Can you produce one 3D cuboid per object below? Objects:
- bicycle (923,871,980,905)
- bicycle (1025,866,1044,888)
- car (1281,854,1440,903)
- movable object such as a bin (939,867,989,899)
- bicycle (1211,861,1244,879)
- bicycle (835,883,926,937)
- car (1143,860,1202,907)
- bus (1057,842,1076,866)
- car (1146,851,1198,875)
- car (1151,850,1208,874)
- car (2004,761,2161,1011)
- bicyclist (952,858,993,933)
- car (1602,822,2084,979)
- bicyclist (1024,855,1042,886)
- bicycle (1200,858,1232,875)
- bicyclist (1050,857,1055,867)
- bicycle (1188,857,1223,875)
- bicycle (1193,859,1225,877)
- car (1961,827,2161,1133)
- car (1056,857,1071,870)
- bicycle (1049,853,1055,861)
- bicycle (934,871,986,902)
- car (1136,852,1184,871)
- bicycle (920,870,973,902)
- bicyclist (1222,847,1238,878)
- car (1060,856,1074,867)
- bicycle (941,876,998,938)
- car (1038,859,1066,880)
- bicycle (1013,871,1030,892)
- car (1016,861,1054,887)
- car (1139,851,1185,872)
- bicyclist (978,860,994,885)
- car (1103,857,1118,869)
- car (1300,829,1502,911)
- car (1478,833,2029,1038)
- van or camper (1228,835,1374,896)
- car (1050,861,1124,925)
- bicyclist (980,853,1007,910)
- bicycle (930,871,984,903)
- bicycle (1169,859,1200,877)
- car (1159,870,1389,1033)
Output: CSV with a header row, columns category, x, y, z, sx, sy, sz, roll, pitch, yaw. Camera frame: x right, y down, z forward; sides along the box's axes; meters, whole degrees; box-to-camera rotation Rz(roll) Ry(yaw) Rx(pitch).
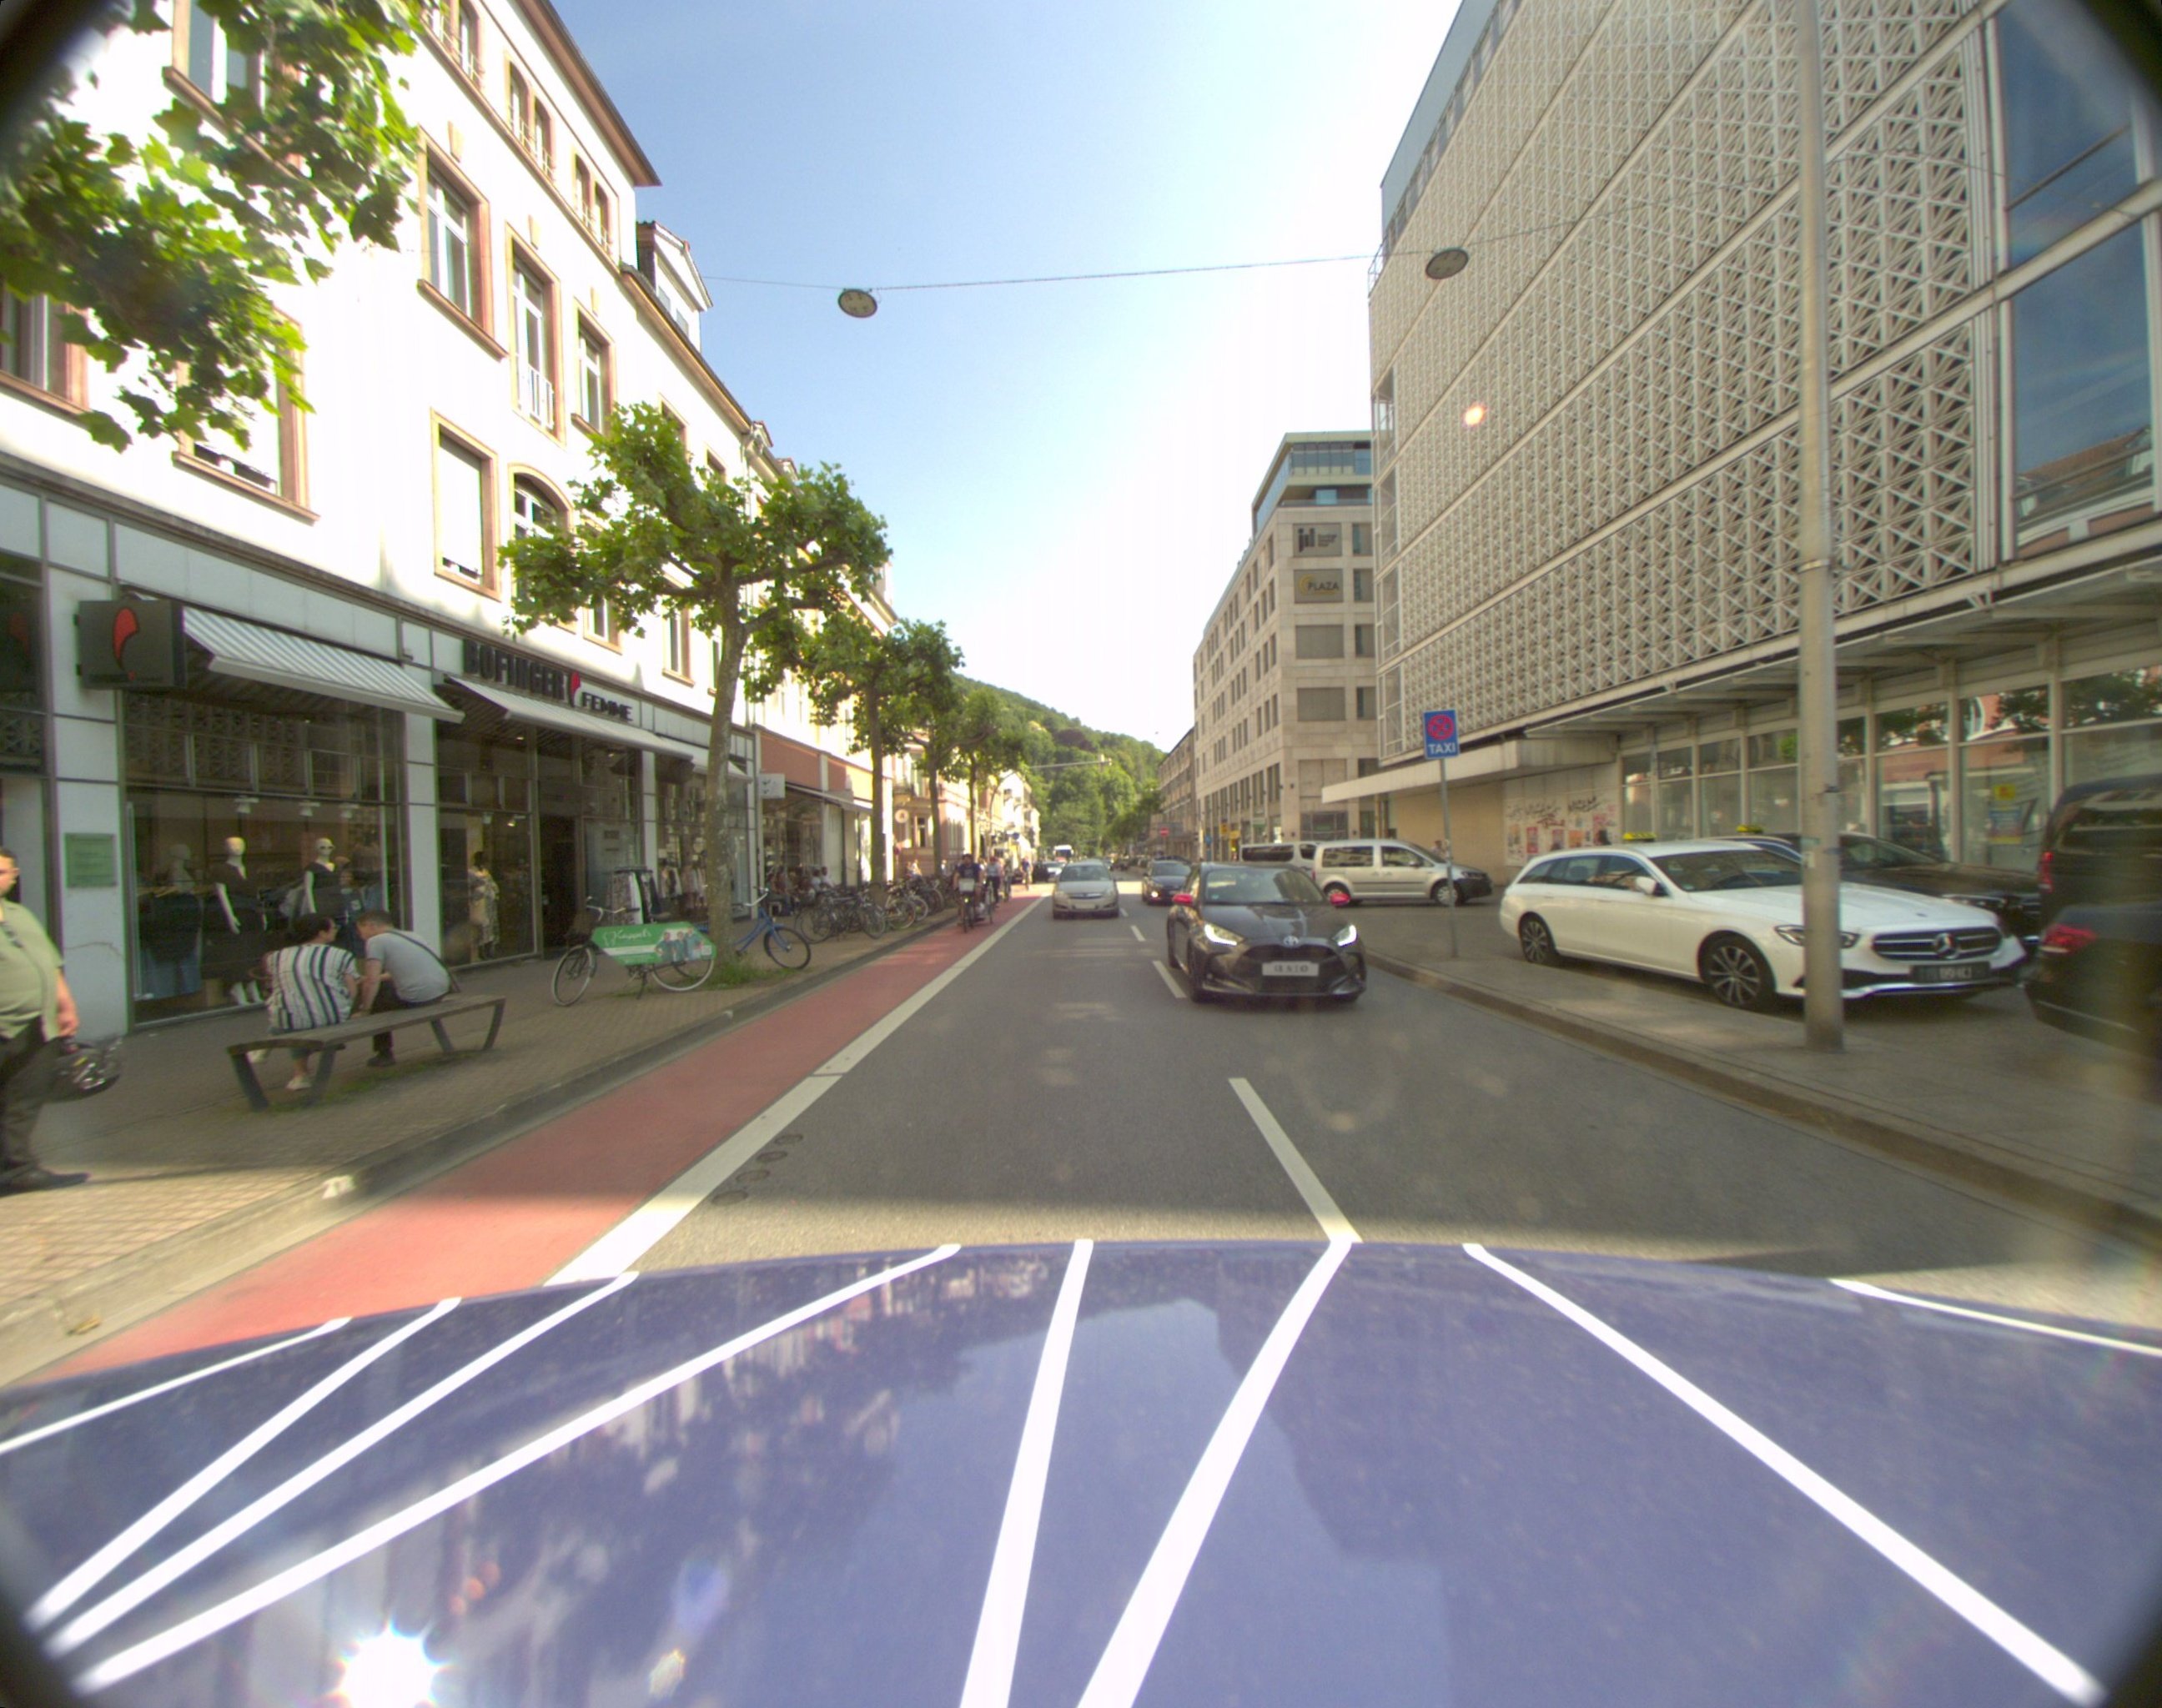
category,x,y,z,sx,sy,sz,roll,pitch,yaw
bicycle,-4.566,1.196,26.813,1.844,1.120,0.666,-1,1,3
bicycle,-2.649,1.283,42.930,0.749,1.111,1.916,-3,1,-11
car,8.657,0.773,23.610,4.288,1.279,1.974,-3,0,32
movable object such as a bin,-4.773,1.175,31.078,1.853,1.182,0.653,-3,0,16
bicycle,9.295,1.013,48.301,1.990,1.120,0.800,-1,0,8
bicycle,-4.530,1.252,17.226,1.844,1.087,0.564,-3,1,1
car,3.037,0.953,25.892,1.733,1.389,4.107,-1,0,3
bus,-2.364,-0.025,121.594,2.924,3.516,12.497,-1,0,-1
car,7.740,0.748,64.626,4.165,1.627,2.103,-5,0,9
car,7.942,0.645,61.214,4.025,1.593,1.961,-4,1,23
car,9.540,0.227,4.761,1.836,2.002,4.685,-2,0,1
bicyclist,-2.473,0.930,17.416,0.732,1.664,0.775,-1,1,6
car,9.746,0.490,10.384,1.999,1.601,4.398,-3,0,-4
bicyclist,-2.718,0.934,42.816,0.910,1.707,0.844,-1,1,1
bicycle,9.241,0.846,51.994,2.059,1.120,0.648,-2,0,27
bicyclist,-4.617,1.262,121.912,0.747,1.693,1.036,-1,1,1
bicycle,8.925,0.866,54.618,2.324,1.120,0.563,-4,0,25
bicycle,8.579,0.911,50.859,2.058,1.162,0.606,0,1,37
car,6.494,0.631,2.479,1.765,1.590,4.709,-2,0,0
car,-2.341,1.193,99.991,1.799,1.515,4.262,-5,1,-2
bicycle,-4.626,0.474,121.358,0.743,1.120,2.573,0,1,2
bicycle,-4.688,1.267,29.439,1.844,1.120,0.666,-1,1,3
car,8.184,0.750,78.626,4.492,1.424,1.865,-6,0,20
bicycle,-5.028,1.201,28.472,1.844,1.120,0.666,-1,1,3
bicyclist,9.458,0.511,48.310,0.843,1.948,1.017,-1,1,7
car,-2.082,1.131,110.717,1.868,1.479,4.414,-2,0,-2
bicycle,-2.507,1.174,17.422,0.733,1.261,2.283,-3,-1,5
car,-2.173,1.137,57.953,1.957,1.416,4.886,-3,0,-1
bicycle,-3.243,1.500,41.573,0.664,1.111,1.992,-1,-2,2
car,-3.053,1.308,51.093,1.631,1.470,3.732,-2,2,10
car,8.009,0.725,75.121,4.029,1.584,1.822,-6,0,33
bicyclist,-5.448,1.073,43.572,0.861,1.403,0.501,-1,0,1
car,3.743,1.116,96.688,1.734,1.389,4.106,-2,0,1
car,8.256,0.428,19.756,4.434,1.898,2.014,-2,0,37
car,6.463,0.651,8.278,1.803,1.514,4.739,-3,0,1
van or camper,8.029,0.444,27.915,4.648,2.001,2.004,-3,-1,40
car,0.087,0.981,20.876,1.791,1.483,4.367,-1,0,-2
bicyclist,-2.717,0.839,23.710,0.684,1.707,0.844,-2,1,1
bicycle,-4.533,1.200,27.859,1.844,1.120,0.643,-1,1,3
bicycle,6.982,0.956,51.343,0.606,1.166,2.059,-4,1,-44
car,1.980,0.937,9.045,1.868,1.469,4.108,0,-1,3
